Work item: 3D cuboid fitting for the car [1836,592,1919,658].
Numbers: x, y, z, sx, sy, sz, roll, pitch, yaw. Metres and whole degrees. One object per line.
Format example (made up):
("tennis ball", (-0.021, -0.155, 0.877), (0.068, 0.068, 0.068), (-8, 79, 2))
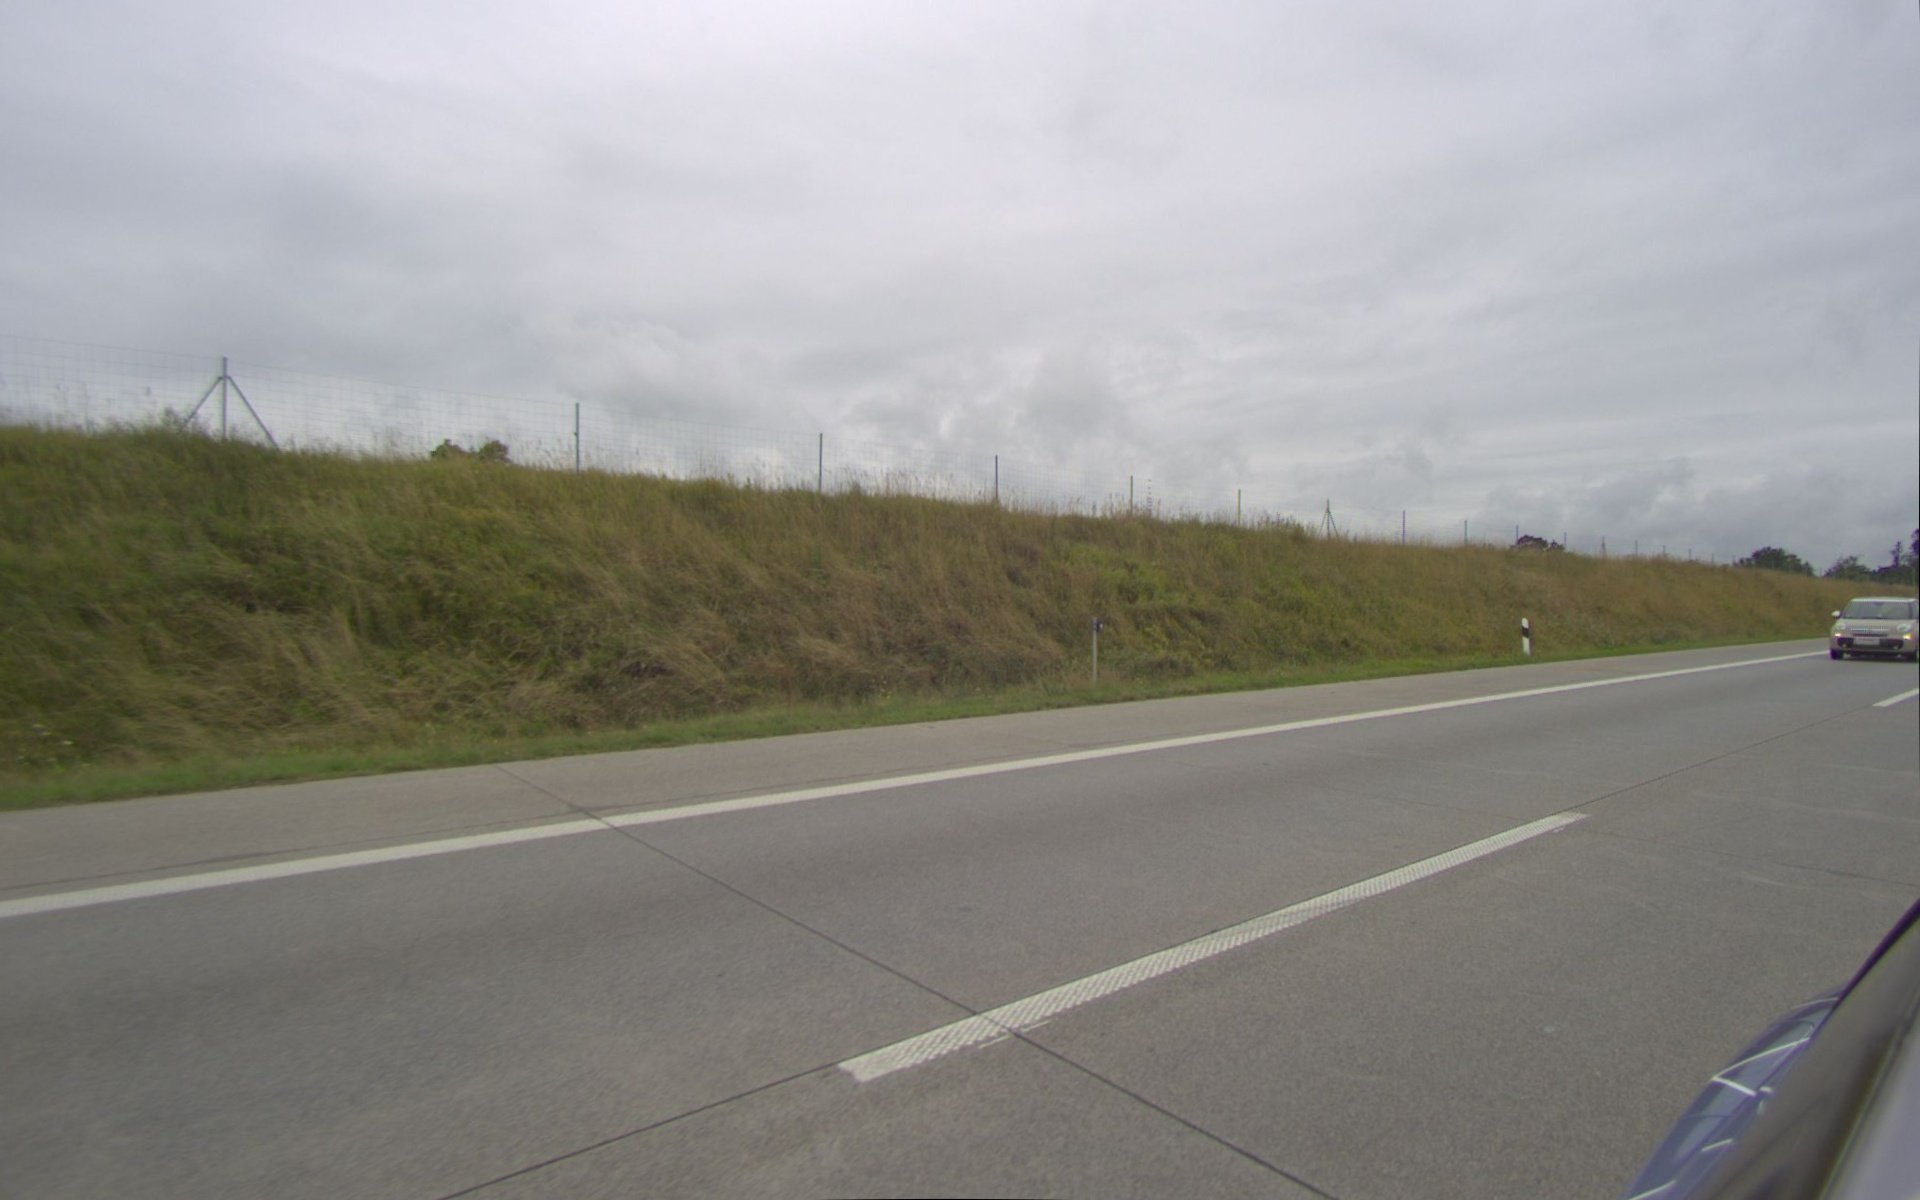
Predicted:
("car", (24.997, 0.636, 26.969), (4.488, 1.625, 1.789), (1, -1, -40))
